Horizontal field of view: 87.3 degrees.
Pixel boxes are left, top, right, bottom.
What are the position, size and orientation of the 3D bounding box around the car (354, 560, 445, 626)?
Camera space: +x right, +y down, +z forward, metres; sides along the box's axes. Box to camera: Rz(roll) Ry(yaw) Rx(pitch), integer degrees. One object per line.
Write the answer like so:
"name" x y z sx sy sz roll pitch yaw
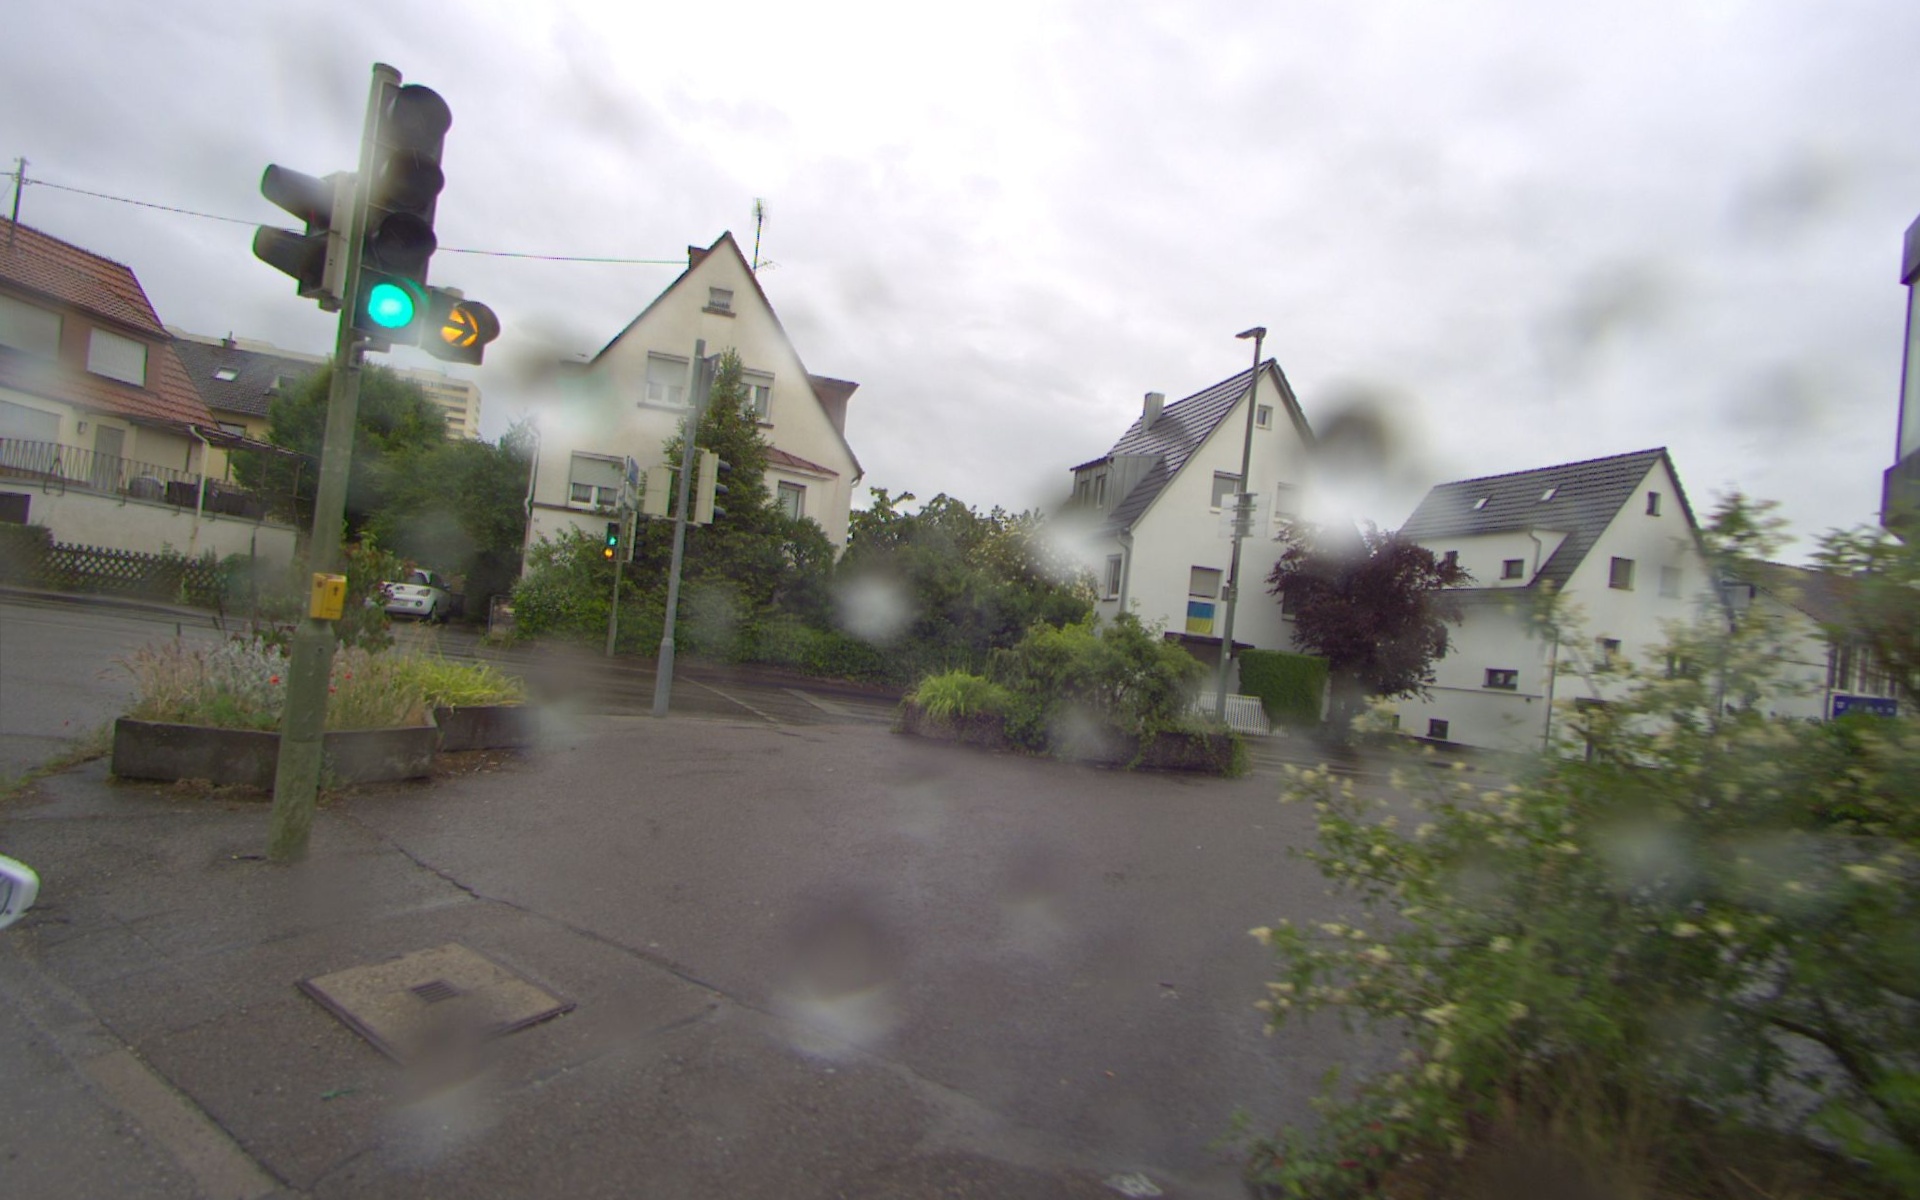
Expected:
"car" -15.790 -0.206 28.513 1.828 1.513 3.721 8 -2 -25
